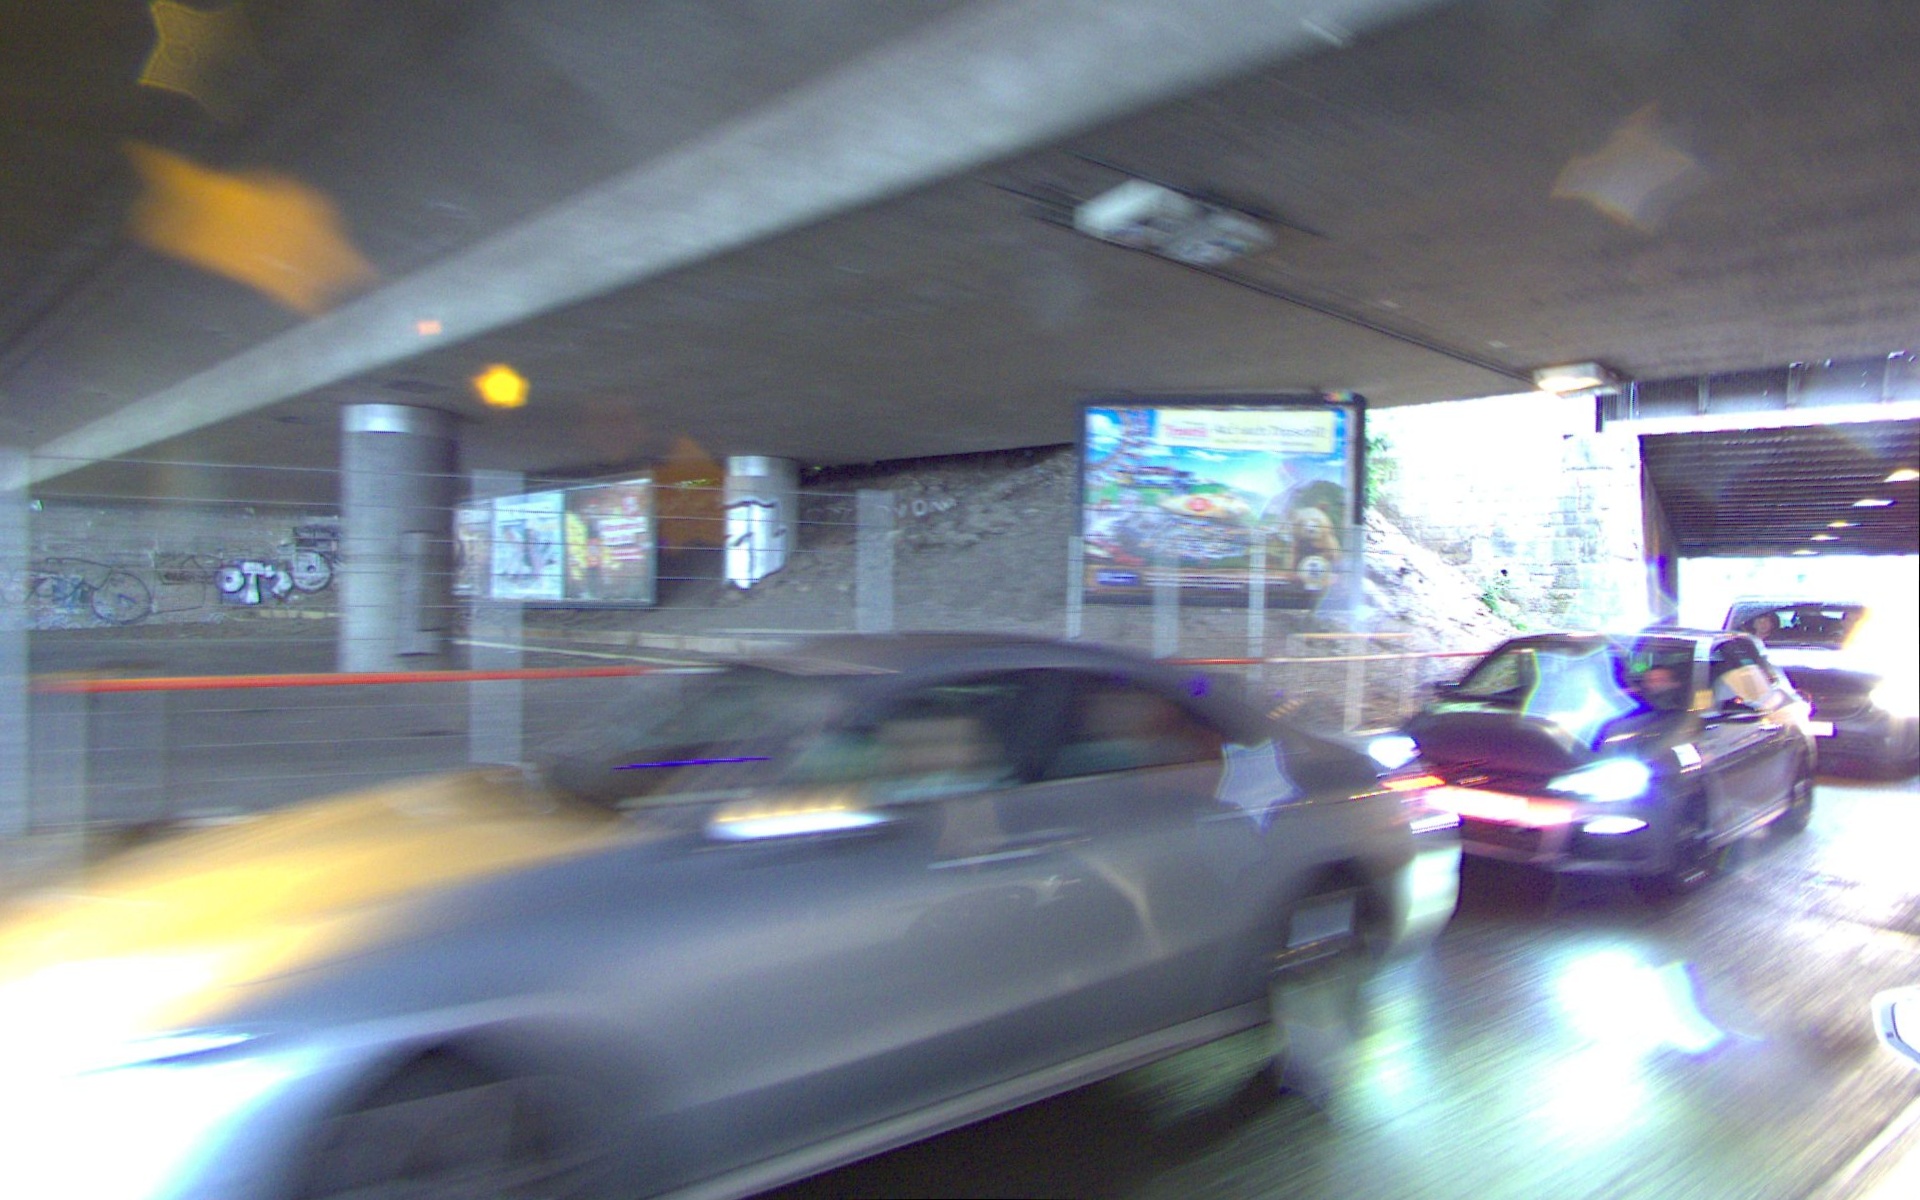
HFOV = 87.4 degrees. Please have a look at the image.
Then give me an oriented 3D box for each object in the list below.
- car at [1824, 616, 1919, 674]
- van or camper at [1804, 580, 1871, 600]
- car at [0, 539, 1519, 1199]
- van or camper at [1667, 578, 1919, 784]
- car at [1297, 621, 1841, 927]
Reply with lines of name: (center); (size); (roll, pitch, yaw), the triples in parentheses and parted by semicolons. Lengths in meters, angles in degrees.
car: (25.144, 1.191, 27.709); (1.814, 1.457, 4.085); (0, -1, 39)
van or camper: (91.722, -1.052, 105.068); (5.251, 2.040, 2.066); (1, 0, 43)
car: (-0.251, 0.749, 3.464); (4.452, 1.550, 1.982); (2, -2, -33)
van or camper: (9.949, 0.816, 11.746); (1.973, 1.893, 5.107); (-1, -2, 44)
car: (4.351, 0.908, 6.956); (4.070, 1.484, 1.978); (2, -2, -39)
